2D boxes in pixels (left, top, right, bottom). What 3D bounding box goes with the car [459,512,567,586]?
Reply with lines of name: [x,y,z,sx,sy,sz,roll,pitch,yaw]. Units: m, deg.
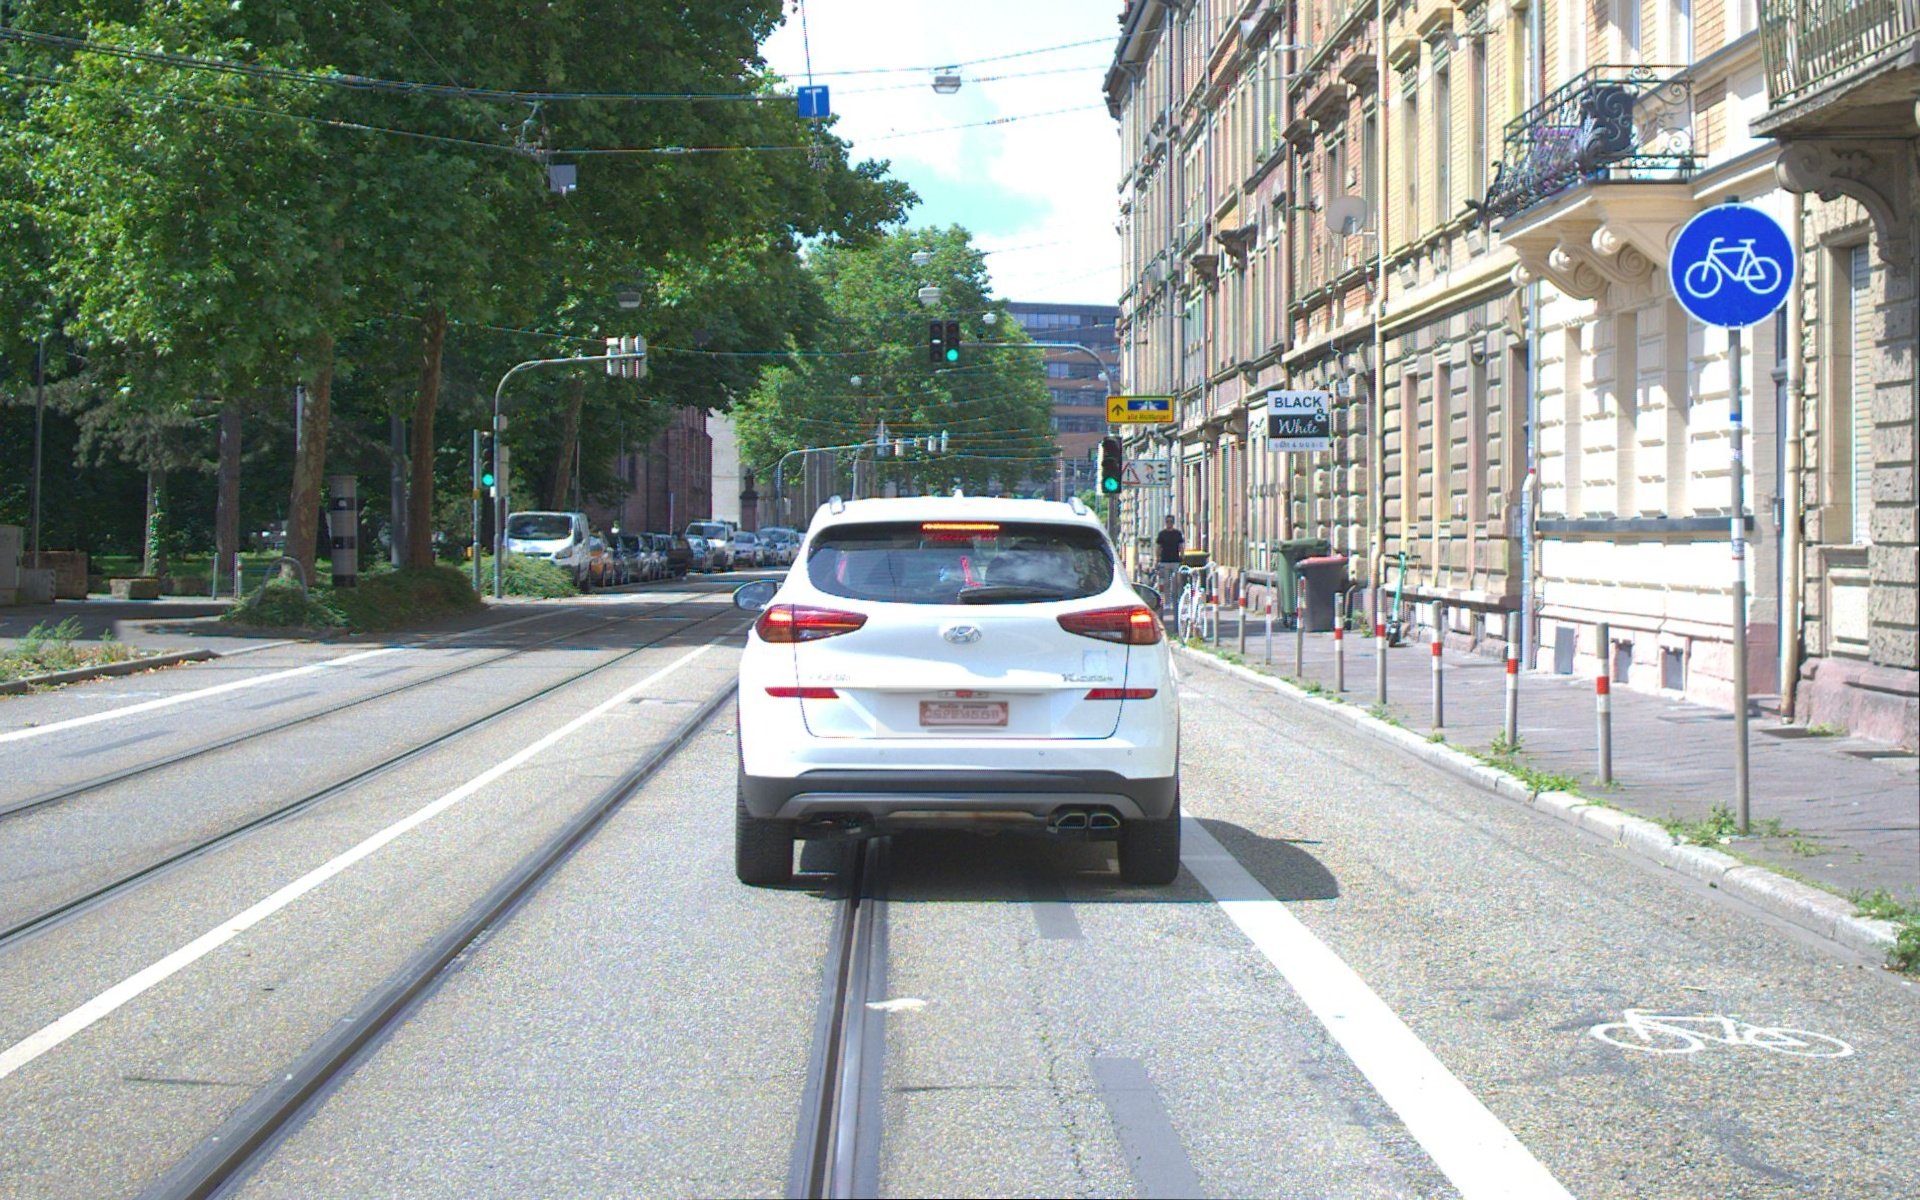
car: [-10.219,-1.191,78.840,1.950,1.626,4.576,1,1,-1]

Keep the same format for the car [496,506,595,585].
car: [-10.188,-1.356,84.815,1.950,1.888,4.566,1,1,-1]

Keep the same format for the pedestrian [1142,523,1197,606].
pedestrian: [3.977,-0.679,65.361,0.938,1.567,1.050,1,1,-1]

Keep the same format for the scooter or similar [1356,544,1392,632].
scooter or similar: [5.536,-0.161,45.996,0.395,1.160,0.486,1,1,-1]

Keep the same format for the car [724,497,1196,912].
car: [-0.115,0.369,15.656,1.852,1.628,4.181,0,1,-3]

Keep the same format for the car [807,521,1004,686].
car: [-0.502,-0.009,33.785,1.814,1.519,4.085,0,1,0]

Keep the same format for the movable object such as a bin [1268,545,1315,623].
movable object such as a bin: [4.869,-0.242,50.486,0.612,1.139,0.638,0,1,-1]

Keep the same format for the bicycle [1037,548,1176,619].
bicycle: [2.439,-0.276,57.434,2.267,1.140,0.585,1,1,-3]

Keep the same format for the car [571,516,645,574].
car: [-10.221,-1.612,99.987,1.950,1.626,4.001,1,1,-3]

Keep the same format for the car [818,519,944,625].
car: [-1.177,-0.456,52.195,1.814,1.519,3.956,1,1,-1]

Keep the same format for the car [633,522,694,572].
car: [-10.143,-1.827,117.752,1.950,1.626,4.001,1,1,-3]

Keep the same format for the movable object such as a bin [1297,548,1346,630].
movable object such as a bin: [5.153,-0.161,49.058,0.612,1.139,0.638,1,1,-1]

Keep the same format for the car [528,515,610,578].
car: [-10.442,-1.436,92.029,1.950,1.626,4.001,1,1,-3]

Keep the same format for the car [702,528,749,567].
car: [-10.155,-2.300,149.006,1.950,1.626,4.001,1,1,-3]
